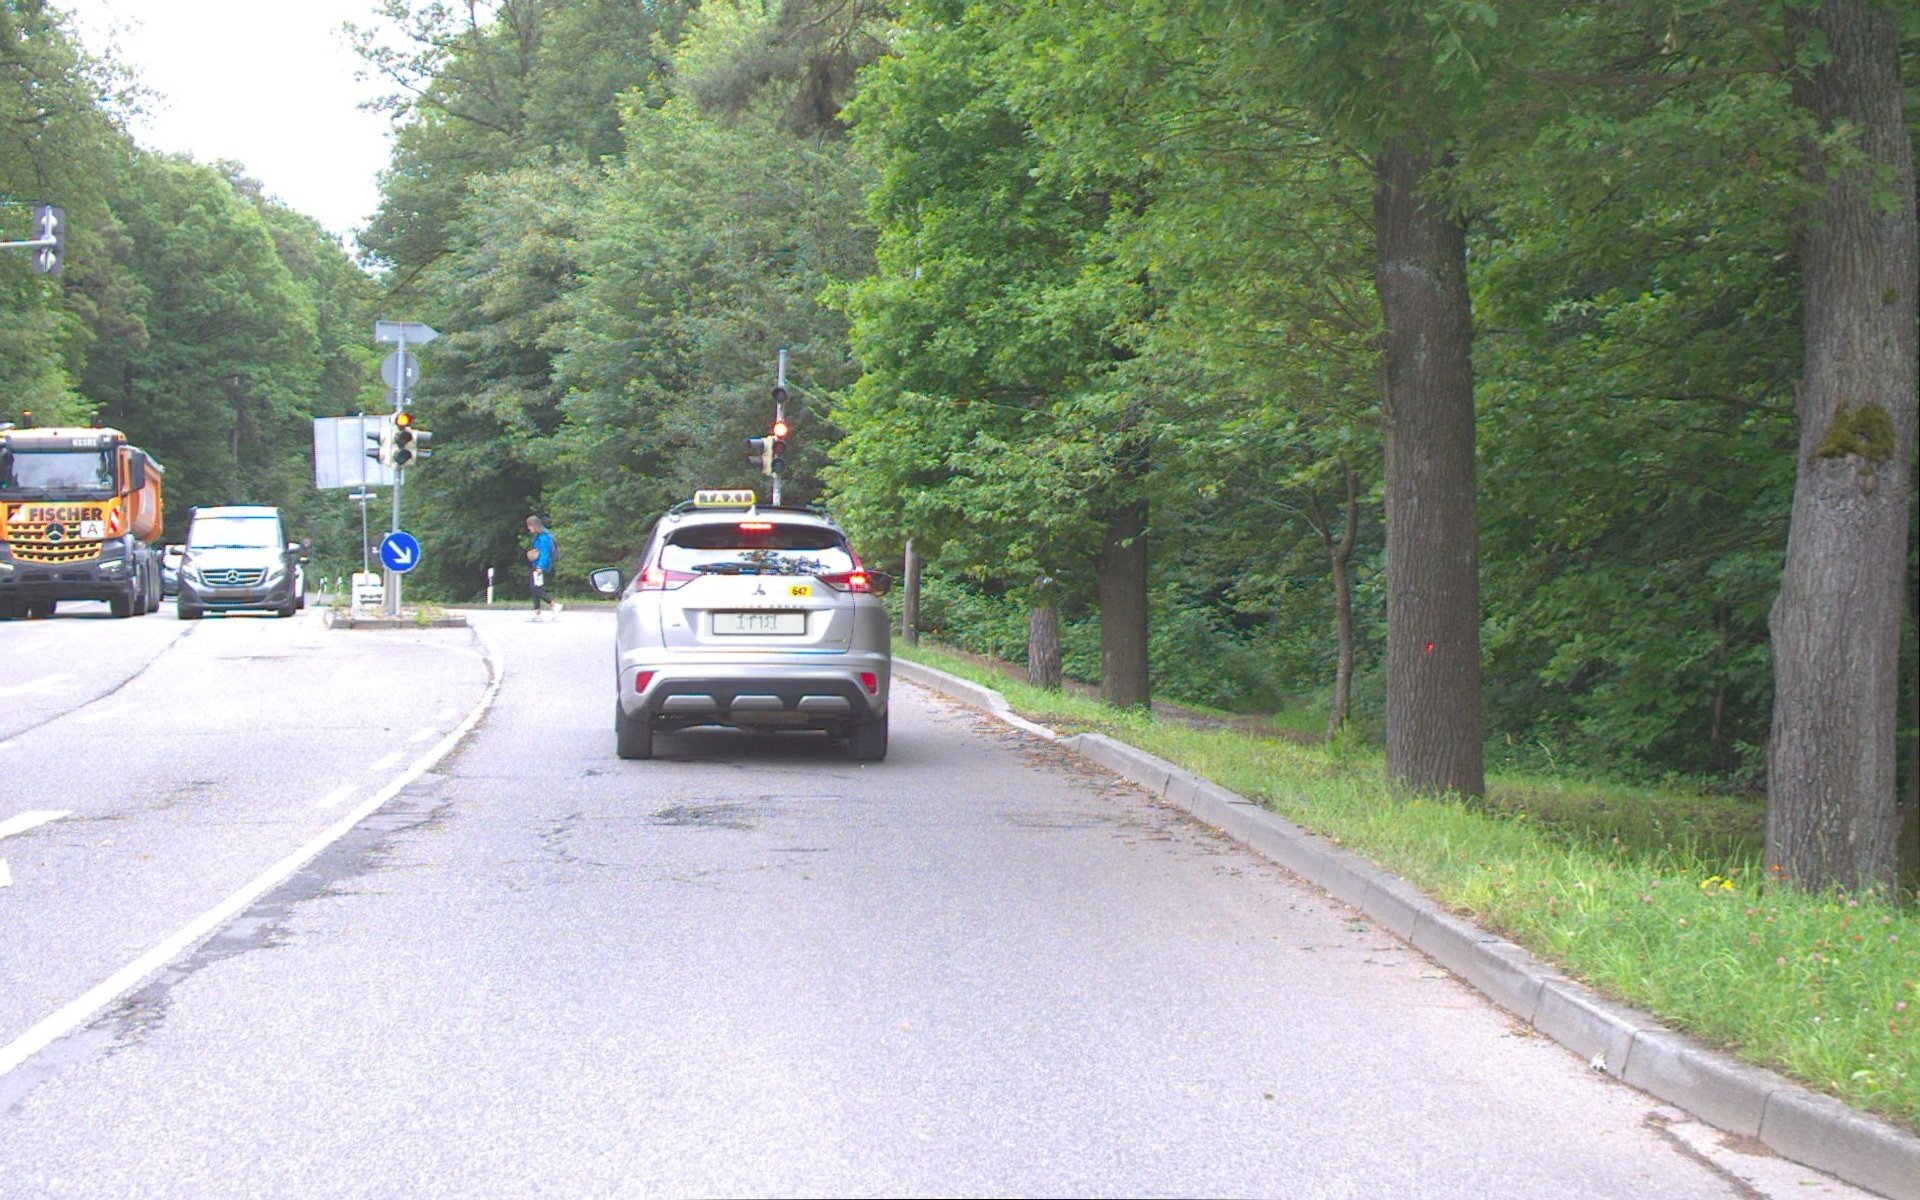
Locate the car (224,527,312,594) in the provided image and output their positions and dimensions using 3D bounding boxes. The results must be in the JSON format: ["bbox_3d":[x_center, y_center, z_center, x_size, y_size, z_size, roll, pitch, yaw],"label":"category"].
[{"bbox_3d":[-14.704,-0.860,73.176,1.612,1.316,3.722,-2,2,-9],"label":"car"}]

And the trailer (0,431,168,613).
[{"bbox_3d":[-17.014,-1.458,67.199,2.738,3.307,8.571,-1,0,-11],"label":"trailer"}]

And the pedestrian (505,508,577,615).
[{"bbox_3d":[-6.532,-0.604,53.638,1.047,1.643,1.069,0,2,-3],"label":"pedestrian"}]

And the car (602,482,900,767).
[{"bbox_3d":[-1.522,0.102,23.716,1.846,1.774,4.001,-1,1,-6],"label":"car"}]

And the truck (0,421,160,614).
[{"bbox_3d":[-16.061,-1.438,62.480,2.738,3.307,7.162,-1,0,-11],"label":"truck"}]

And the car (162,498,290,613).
[{"bbox_3d":[-12.755,-0.769,59.947,1.993,1.887,4.840,-1,1,-10],"label":"car"}]
